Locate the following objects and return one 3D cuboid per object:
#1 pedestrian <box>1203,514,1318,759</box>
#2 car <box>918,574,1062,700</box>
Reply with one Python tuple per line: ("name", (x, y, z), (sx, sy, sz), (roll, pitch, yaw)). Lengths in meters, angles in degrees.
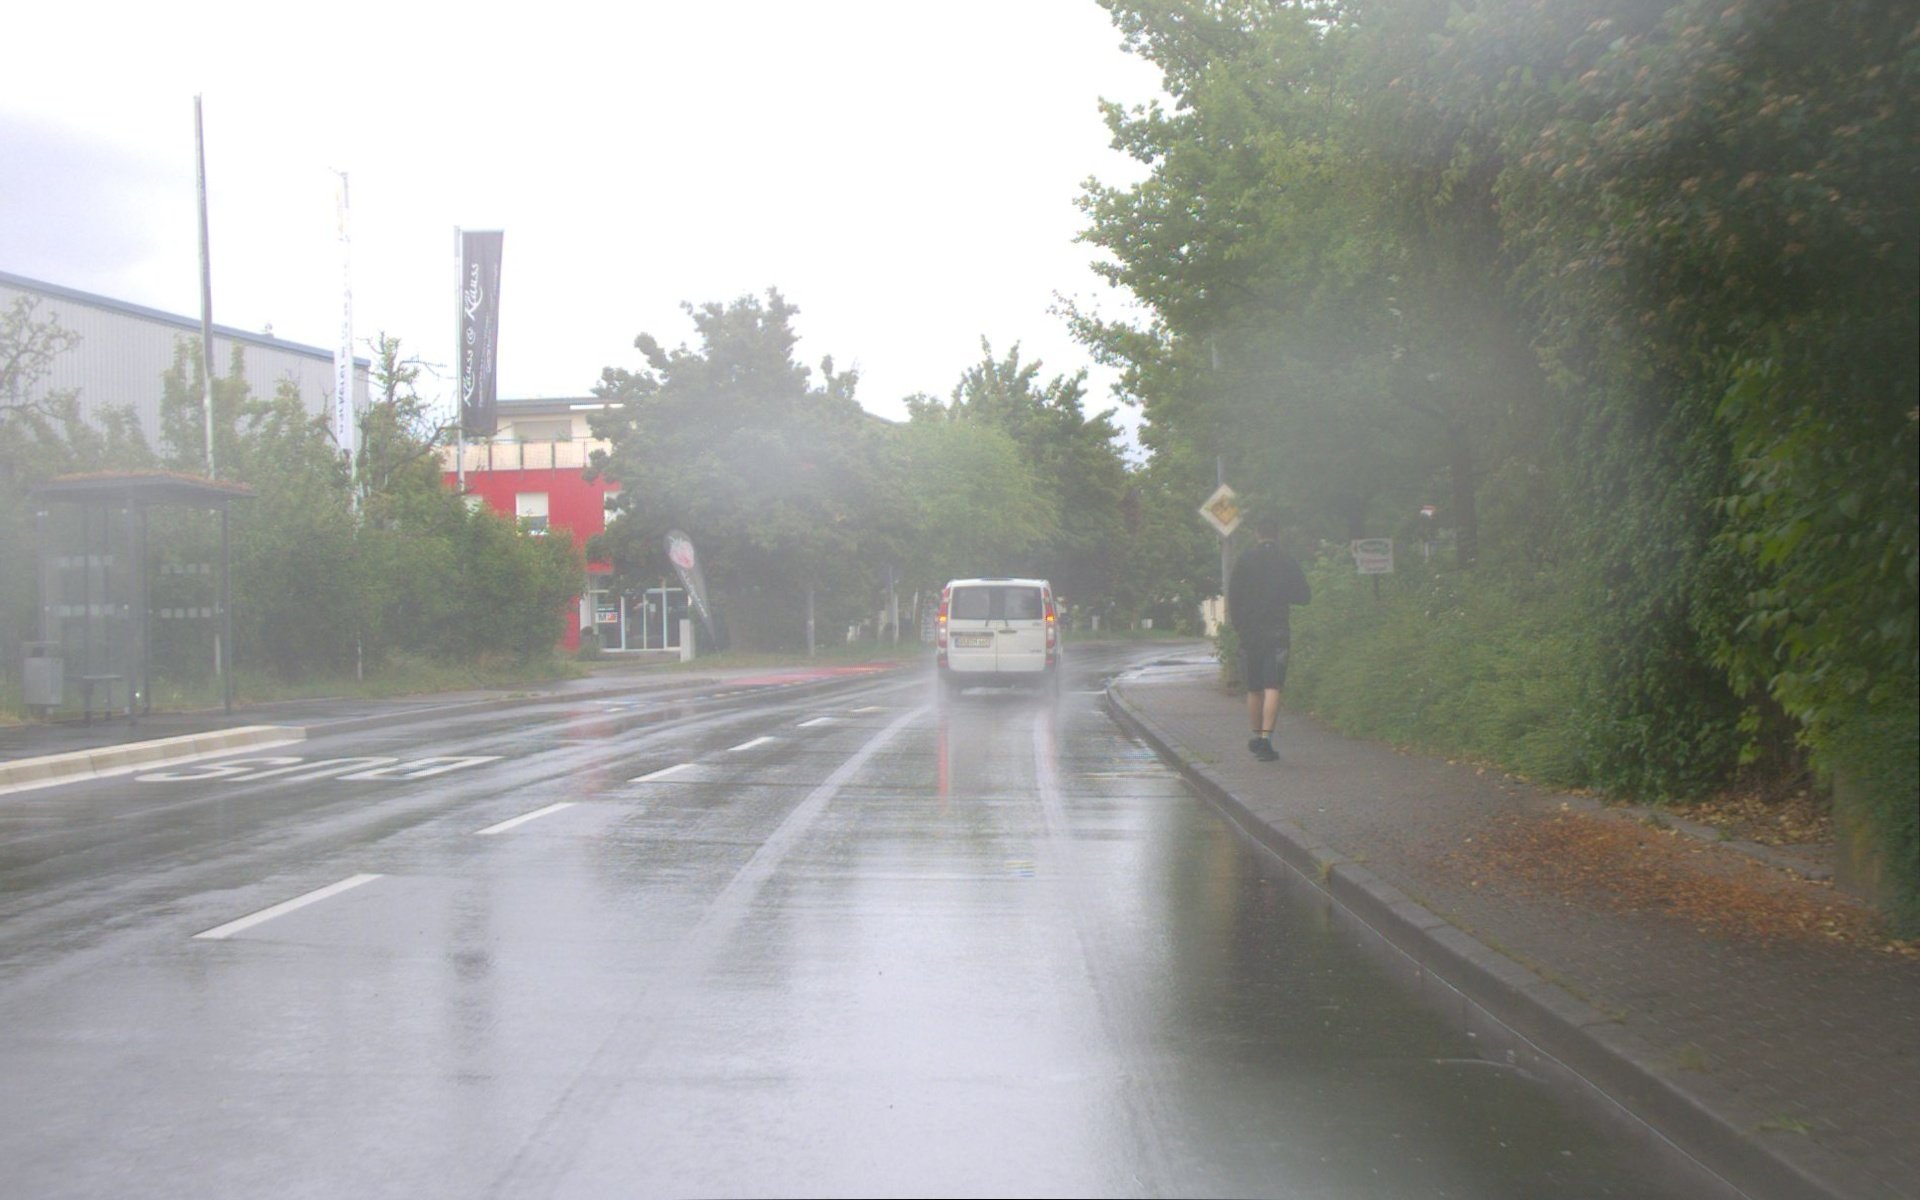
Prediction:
("pedestrian", (2.306, 0.271, 26.503), (0.745, 1.831, 0.890), (-2, 0, 0))
("car", (0.513, 0.536, 53.505), (2.117, 1.882, 4.501), (0, 0, 2))
